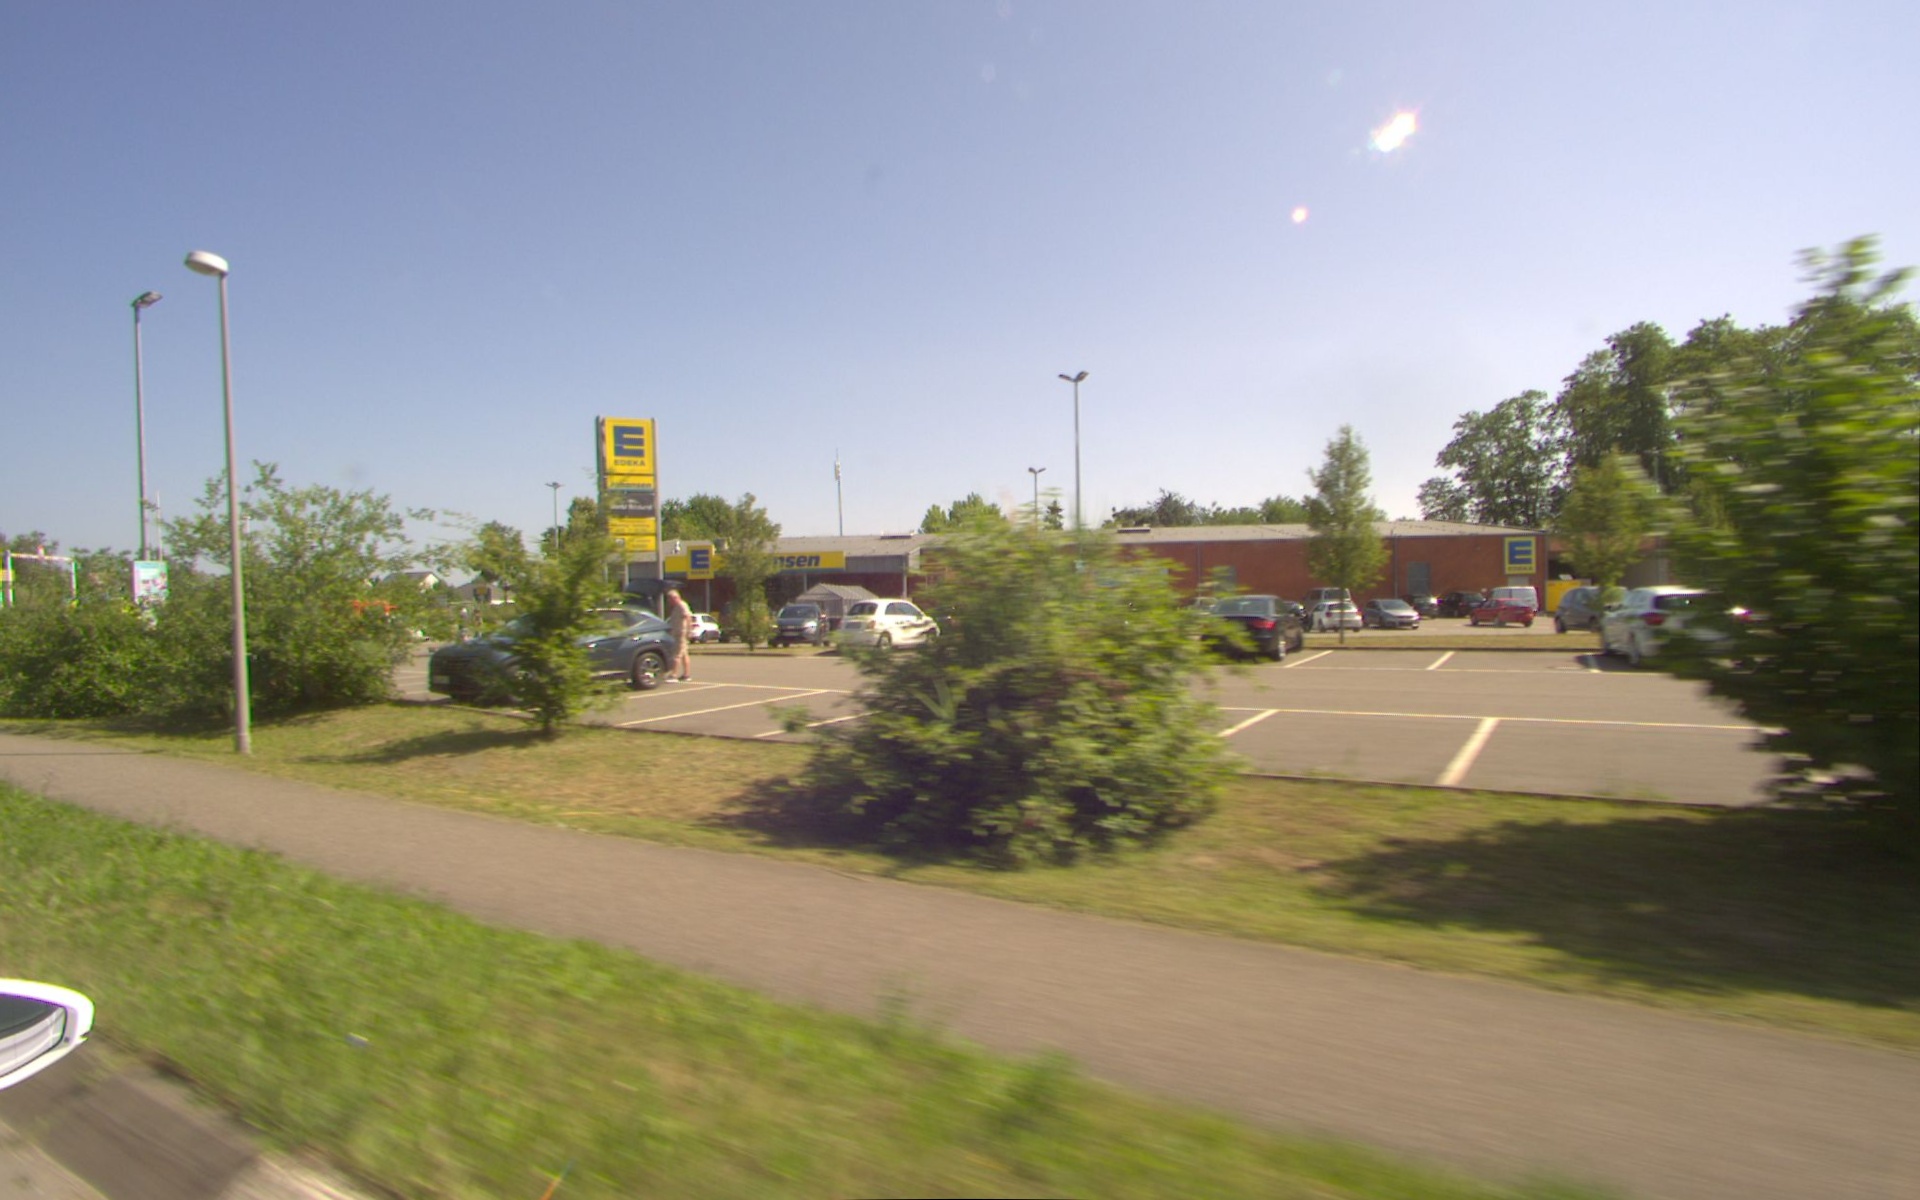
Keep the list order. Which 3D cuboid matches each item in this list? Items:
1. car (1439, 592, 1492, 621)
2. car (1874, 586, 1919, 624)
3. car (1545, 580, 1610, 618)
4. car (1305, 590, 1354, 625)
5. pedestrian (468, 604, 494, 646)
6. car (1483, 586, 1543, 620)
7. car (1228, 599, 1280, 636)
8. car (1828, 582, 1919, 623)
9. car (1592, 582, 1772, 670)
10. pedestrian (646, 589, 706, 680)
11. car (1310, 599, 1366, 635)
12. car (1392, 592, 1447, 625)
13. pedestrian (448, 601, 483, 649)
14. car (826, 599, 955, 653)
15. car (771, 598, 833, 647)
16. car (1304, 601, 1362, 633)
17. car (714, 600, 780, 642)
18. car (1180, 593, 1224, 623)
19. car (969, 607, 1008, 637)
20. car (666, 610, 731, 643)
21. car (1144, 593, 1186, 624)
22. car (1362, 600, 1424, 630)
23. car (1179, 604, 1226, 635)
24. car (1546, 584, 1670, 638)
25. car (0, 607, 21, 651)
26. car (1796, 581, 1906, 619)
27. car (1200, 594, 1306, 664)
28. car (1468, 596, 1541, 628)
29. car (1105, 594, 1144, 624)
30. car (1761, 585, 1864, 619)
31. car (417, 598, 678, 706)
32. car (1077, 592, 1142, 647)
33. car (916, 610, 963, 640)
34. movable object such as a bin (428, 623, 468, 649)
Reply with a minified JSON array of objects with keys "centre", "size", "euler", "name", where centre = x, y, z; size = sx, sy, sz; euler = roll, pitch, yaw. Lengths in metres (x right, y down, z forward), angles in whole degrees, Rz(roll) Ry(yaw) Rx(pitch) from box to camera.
[{"centre":[30.928,0.377,61.347],"size":[1.748,1.662,3.771],"euler":[-1,0,8],"name":"car"},{"centre":[46.239,0.194,47.430],"size":[3.923,1.734,1.942],"euler":[-1,1,7],"name":"car"},{"centre":[37.675,-0.043,61.240],"size":[1.962,2.276,4.022],"euler":[0,0,9],"name":"car"},{"centre":[22.589,0.454,61.333],"size":[1.961,2.040,3.999],"euler":[-1,0,7],"name":"car"},{"centre":[-19.068,0.990,39.887],"size":[0.587,1.670,0.701],"euler":[0,1,27],"name":"pedestrian"},{"centre":[33.727,0.197,61.230],"size":[1.962,2.040,3.998],"euler":[0,0,9],"name":"car"},{"centre":[13.704,0.790,46.875],"size":[1.962,1.684,3.997],"euler":[0,0,11],"name":"car"},{"centre":[46.609,0.109,50.476],"size":[3.923,2.000,1.942],"euler":[-1,1,7],"name":"car"},{"centre":[13.422,0.433,18.882],"size":[1.872,1.472,3.963],"euler":[0,0,22],"name":"car"},{"centre":[-5.821,0.693,20.540],"size":[0.854,1.821,0.816],"euler":[0,1,34],"name":"pedestrian"},{"centre":[19.632,0.837,52.097],"size":[1.770,1.781,3.999],"euler":[-1,0,6],"name":"car"},{"centre":[28.124,0.512,61.390],"size":[1.961,1.907,3.999],"euler":[-1,0,7],"name":"car"},{"centre":[-19.154,0.951,38.803],"size":[0.828,1.809,0.878],"euler":[0,1,24],"name":"pedestrian"},{"centre":[-1.945,0.710,29.165],"size":[1.628,1.461,3.975],"euler":[0,0,35],"name":"car"},{"centre":[-5.475,0.753,35.019],"size":[1.629,1.609,3.999],"euler":[0,0,-2],"name":"car"},{"centre":[17.373,0.786,46.852],"size":[1.855,1.416,3.998],"euler":[-1,0,10],"name":"car"},{"centre":[-10.306,1.002,48.778],"size":[1.843,1.954,3.489],"euler":[0,0,13],"name":"car"},{"centre":[15.301,0.512,63.587],"size":[1.961,1.840,3.999],"euler":[-1,0,2],"name":"car"},{"centre":[1.421,1.051,48.821],"size":[1.682,1.416,3.999],"euler":[0,0,5],"name":"car"},{"centre":[-12.753,1.256,49.040],"size":[1.684,1.517,3.489],"euler":[0,0,13],"name":"car"},{"centre":[12.987,0.525,63.590],"size":[1.961,1.840,3.999],"euler":[-1,0,2],"name":"car"},{"centre":[22.016,0.735,51.056],"size":[1.876,1.461,3.998],"euler":[-1,0,8],"name":"car"},{"centre":[11.370,0.879,47.197],"size":[1.962,1.372,3.997],"euler":[-1,0,11],"name":"car"},{"centre":[20.666,0.335,32.137],"size":[1.933,1.606,3.997],"euler":[0,0,10],"name":"car"},{"centre":[-36.796,1.066,35.985],"size":[4.382,1.592,1.700],"euler":[0,0,-42],"name":"car"},{"centre":[46.902,-0.011,52.800],"size":[3.923,1.890,1.942],"euler":[-1,1,7],"name":"car"},{"centre":[6.787,0.605,22.911],"size":[1.721,1.446,3.986],"euler":[0,0,25],"name":"car"},{"centre":[27.738,0.580,51.165],"size":[1.766,1.539,3.999],"euler":[-1,0,4],"name":"car"},{"centre":[10.458,0.545,63.724],"size":[1.961,1.840,3.999],"euler":[-1,0,2],"name":"car"},{"centre":[47.347,0.096,55.695],"size":[3.923,1.824,1.942],"euler":[-1,1,7],"name":"car"},{"centre":[-7.299,0.831,18.132],"size":[1.728,1.649,4.108],"euler":[0,1,33],"name":"car"},{"centre":[5.044,0.707,34.275],"size":[1.961,1.723,4.562],"euler":[0,-2,6],"name":"car"},{"centre":[-0.966,1.203,48.762],"size":[1.961,1.394,4.000],"euler":[0,0,4],"name":"car"},{"centre":[-20.070,1.399,39.246],"size":[1.184,0.968,0.877],"euler":[0,0,26],"name":"movable object such as a bin"}]
